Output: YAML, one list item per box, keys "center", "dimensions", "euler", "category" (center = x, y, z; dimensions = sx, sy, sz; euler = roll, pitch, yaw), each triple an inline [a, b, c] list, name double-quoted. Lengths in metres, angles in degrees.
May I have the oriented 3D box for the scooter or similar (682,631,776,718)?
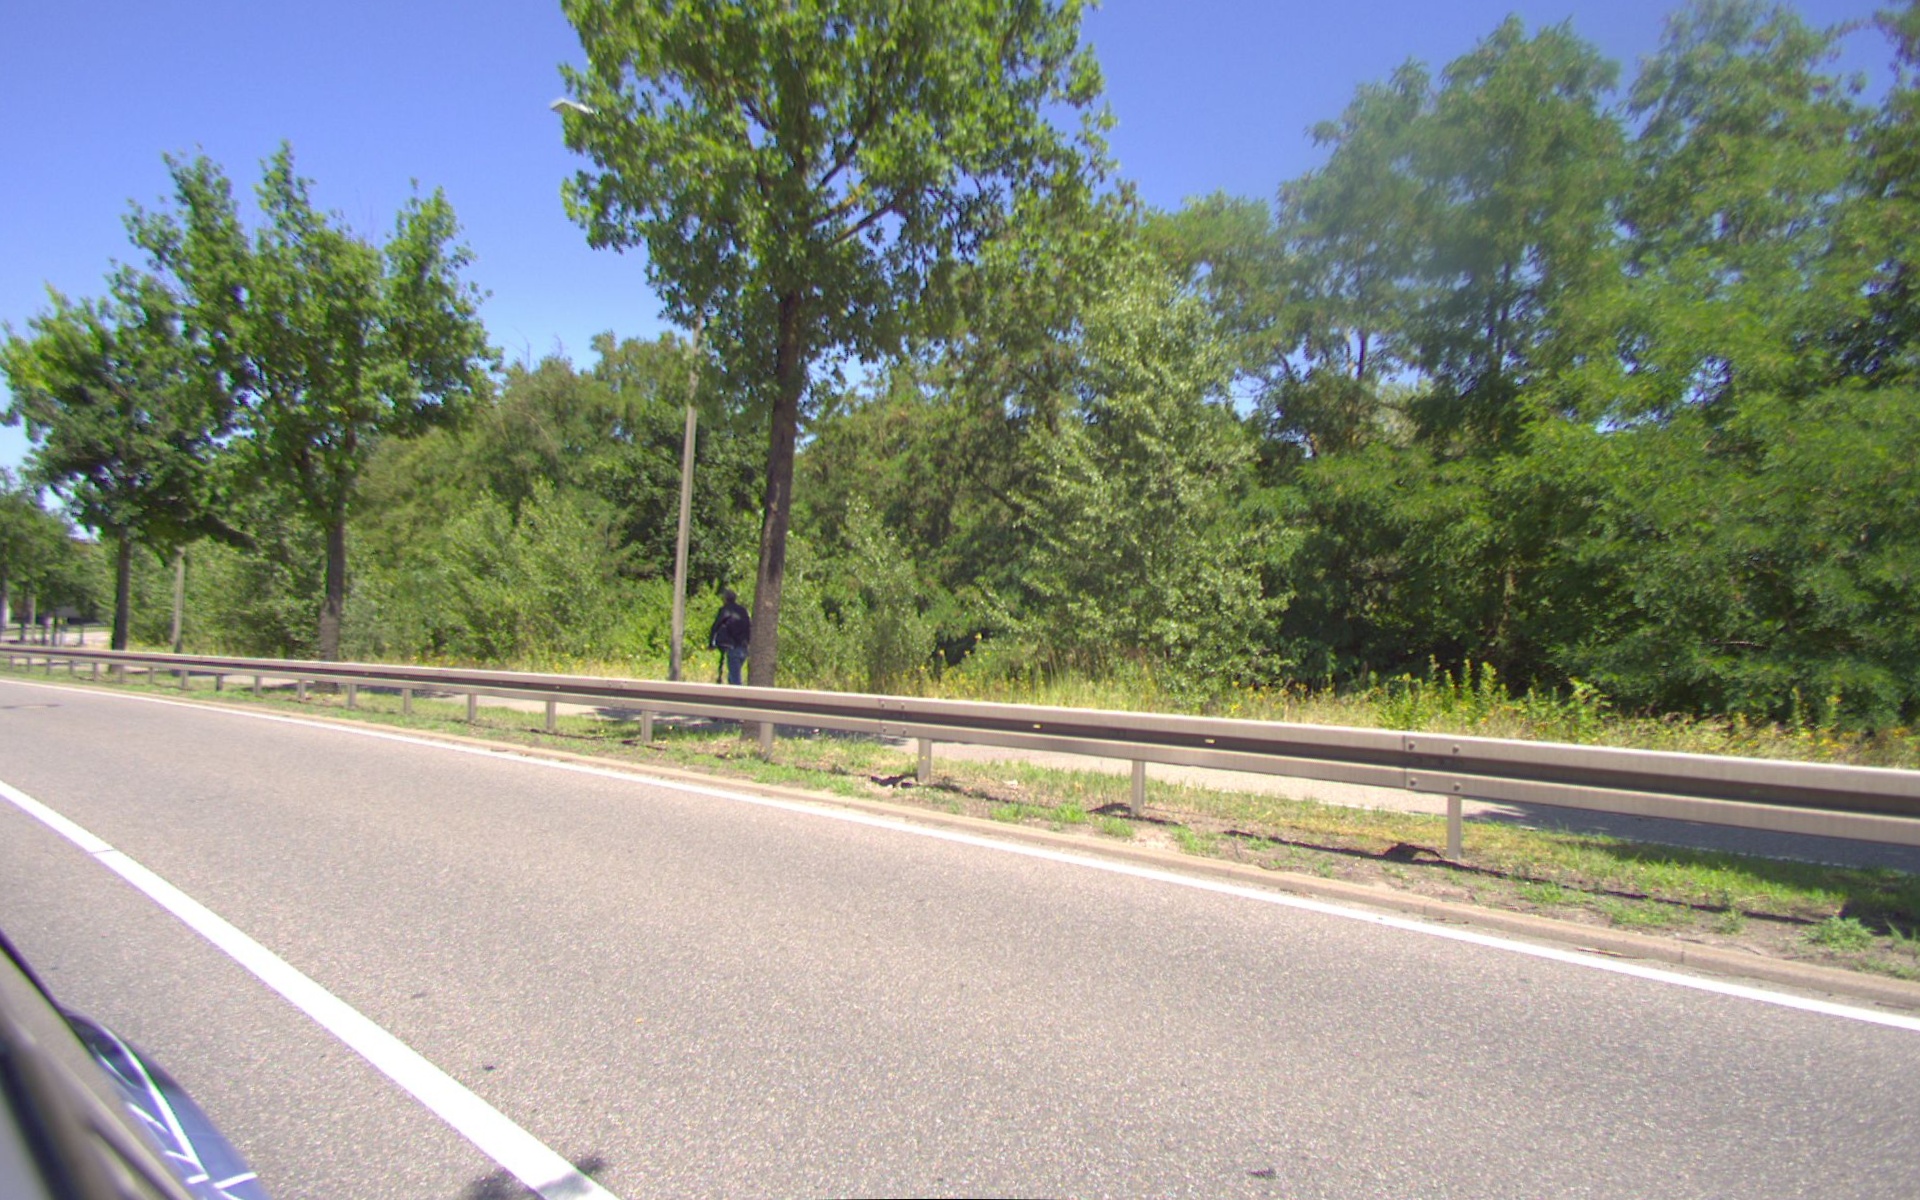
- center: [-3.143, 0.985, 13.753]
  dimensions: [1.095, 1.099, 0.768]
  euler: [-1, -1, 43]
  category: "scooter or similar"

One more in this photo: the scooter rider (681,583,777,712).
- center: [-3.149, 0.614, 13.766]
  dimensions: [1.120, 1.670, 0.768]
  euler: [-1, -1, 43]
  category: "scooter rider"
